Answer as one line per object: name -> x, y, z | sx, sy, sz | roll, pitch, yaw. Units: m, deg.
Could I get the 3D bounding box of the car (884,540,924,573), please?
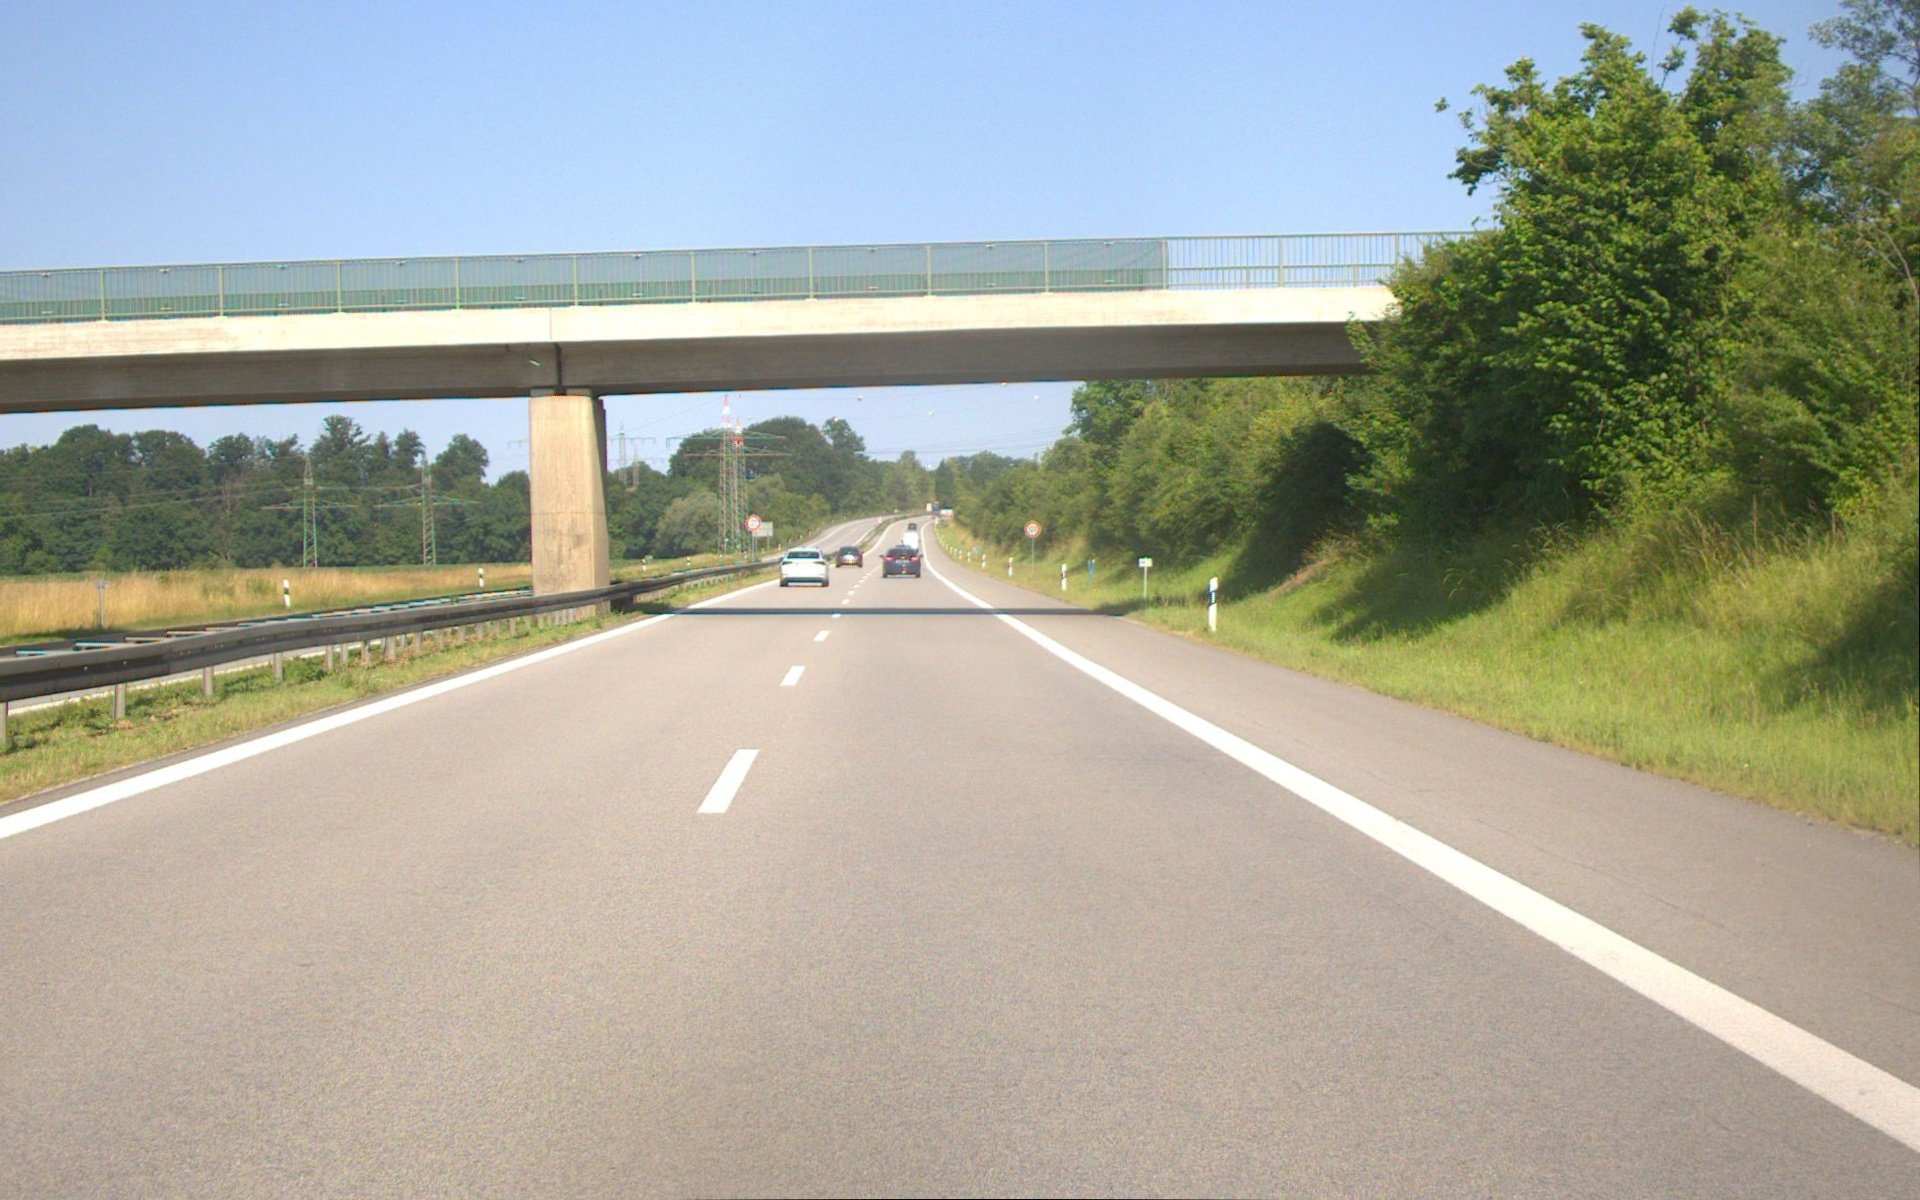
car -> -2.683, -2.081, 164.557 | 1.843, 1.515, 4.000 | 1, 1, -2

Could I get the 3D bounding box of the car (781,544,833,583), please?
car -> -5.678, -1.354, 128.212 | 1.843, 1.411, 4.000 | 1, 1, -2

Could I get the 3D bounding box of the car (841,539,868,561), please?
car -> -7.259, -3.432, 236.438 | 1.843, 1.431, 4.000 | 1, 1, -2
